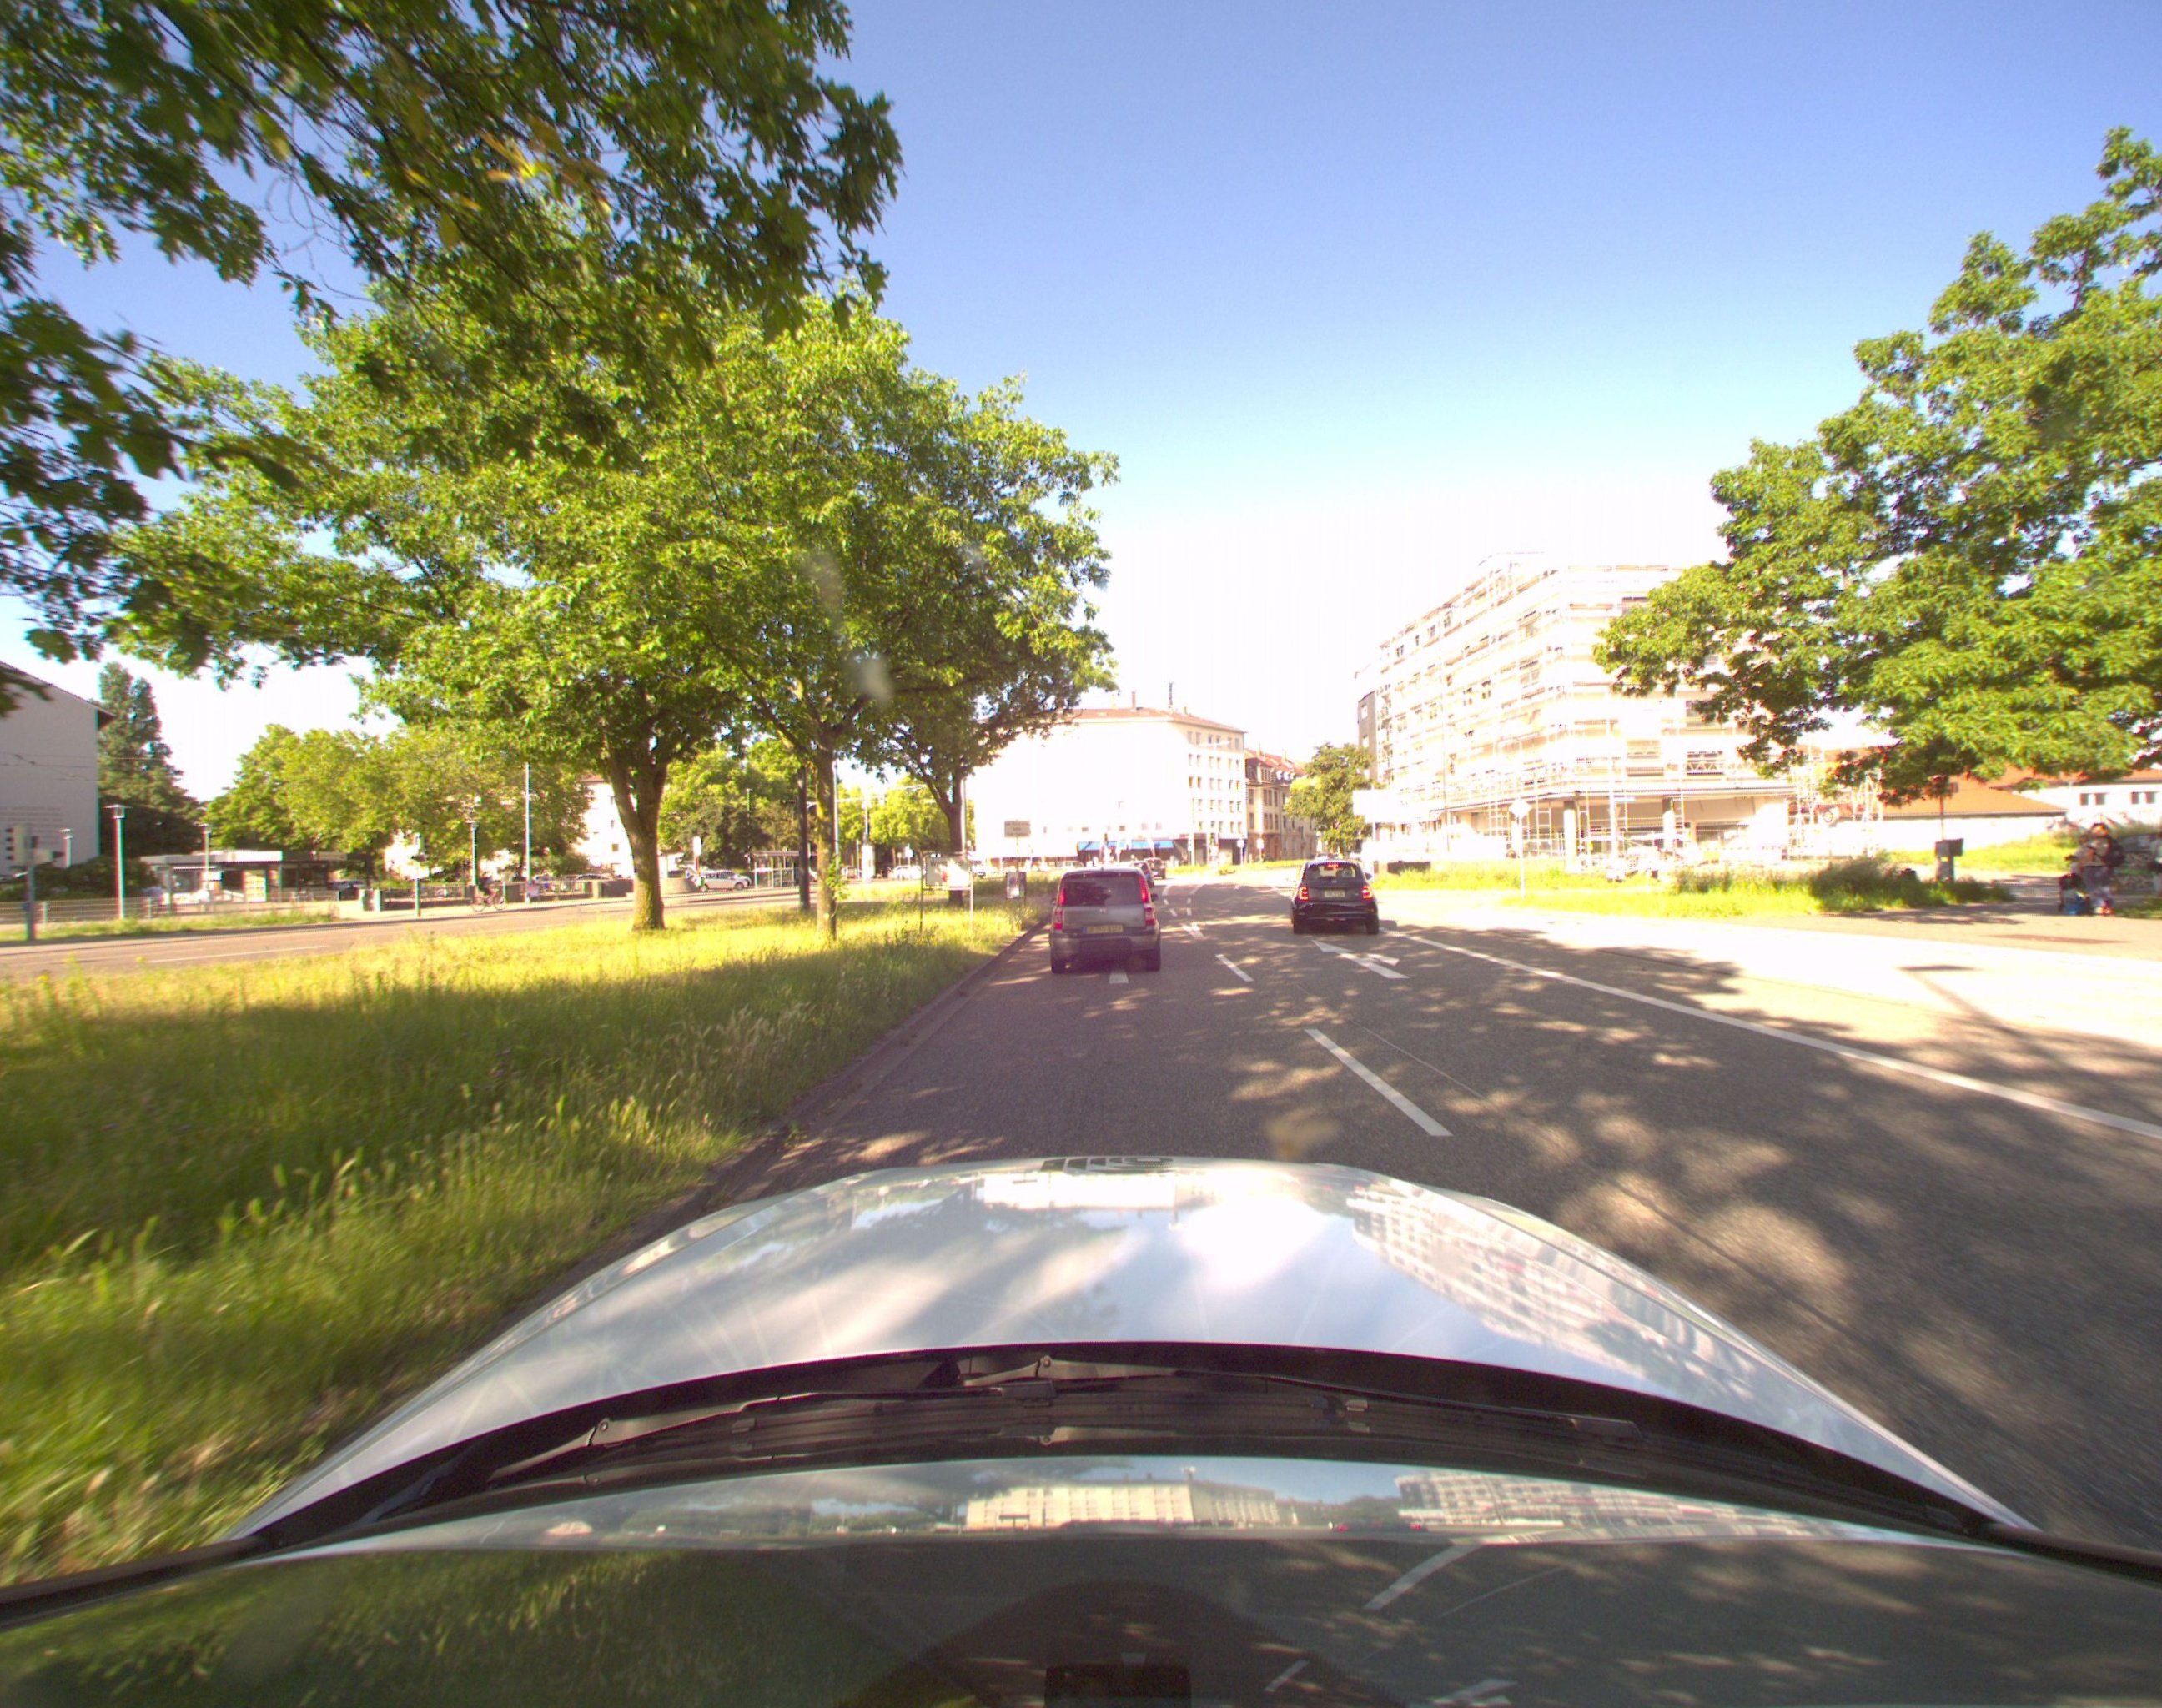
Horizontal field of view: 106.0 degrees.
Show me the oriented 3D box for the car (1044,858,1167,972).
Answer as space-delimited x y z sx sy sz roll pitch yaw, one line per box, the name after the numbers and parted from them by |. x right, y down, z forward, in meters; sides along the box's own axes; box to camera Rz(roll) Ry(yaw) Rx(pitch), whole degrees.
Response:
0.419 0.853 12.844 1.653 1.510 3.254 -2 0 3 | car

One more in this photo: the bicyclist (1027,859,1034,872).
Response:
-5.284 1.238 84.959 0.596 1.357 0.529 -2 0 -12 | bicyclist

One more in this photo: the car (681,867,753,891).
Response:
-27.373 1.874 61.348 1.849 1.544 4.576 2 2 44 | car

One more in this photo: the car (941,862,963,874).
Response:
-15.540 1.638 98.283 1.986 1.310 4.001 -2 0 1 | car

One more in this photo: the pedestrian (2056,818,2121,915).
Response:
18.140 0.220 14.663 0.600 1.700 0.410 -2 -1 1 | pedestrian

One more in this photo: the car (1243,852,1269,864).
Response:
21.978 0.505 102.330 1.773 1.396 3.749 -2 0 36 | car

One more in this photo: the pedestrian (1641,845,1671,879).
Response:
25.924 0.378 36.737 0.649 1.497 0.907 -1 -1 -7 | pedestrian

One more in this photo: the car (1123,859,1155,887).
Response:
3.205 1.009 44.846 1.638 1.438 3.400 -2 0 5 | car

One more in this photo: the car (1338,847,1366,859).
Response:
36.699 -0.114 110.336 1.906 1.594 3.984 -2 0 -11 | car

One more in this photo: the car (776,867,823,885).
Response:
-27.849 2.193 80.694 3.978 1.572 1.998 -2 -1 -3 | car

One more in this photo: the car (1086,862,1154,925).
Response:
0.983 0.977 21.509 1.615 1.429 3.689 -2 0 1 | car

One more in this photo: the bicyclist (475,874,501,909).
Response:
-27.155 1.718 37.283 0.608 1.530 0.678 -1 1 13 | bicyclist

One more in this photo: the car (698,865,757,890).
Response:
-27.976 1.857 64.573 1.741 1.717 4.025 1 2 28 | car

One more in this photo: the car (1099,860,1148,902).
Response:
1.705 1.002 31.987 1.752 1.486 4.297 -2 0 3 | car

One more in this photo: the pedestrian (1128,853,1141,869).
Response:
4.975 0.648 75.365 0.780 1.428 0.928 1 -2 -37 | pedestrian

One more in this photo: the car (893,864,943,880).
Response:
-15.892 1.765 79.497 4.367 1.448 1.671 -2 0 5 | car

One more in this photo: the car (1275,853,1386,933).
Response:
5.272 0.765 17.639 1.665 1.503 3.569 -2 0 7 | car

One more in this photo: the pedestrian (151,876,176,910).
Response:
-50.565 2.148 44.880 0.553 1.829 0.731 -2 -1 22 | pedestrian

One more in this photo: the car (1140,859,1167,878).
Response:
5.008 1.024 56.526 1.683 1.253 3.629 -1 -1 3 | car

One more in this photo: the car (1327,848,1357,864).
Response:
26.947 0.181 83.968 1.802 1.508 4.026 -2 0 35 | car

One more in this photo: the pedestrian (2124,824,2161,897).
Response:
24.290 0.147 18.400 0.701 1.620 0.566 0 -1 -4 | pedestrian

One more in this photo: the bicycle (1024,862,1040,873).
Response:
-5.123 1.359 84.964 1.581 1.090 0.529 -2 0 -12 | bicycle

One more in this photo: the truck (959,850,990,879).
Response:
-9.586 0.934 73.109 1.795 2.427 4.079 -1 0 -22 | truck

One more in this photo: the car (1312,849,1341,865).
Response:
24.113 0.265 79.882 1.757 1.442 3.642 -1 0 34 | car

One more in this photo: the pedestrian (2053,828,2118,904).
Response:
20.400 0.243 16.550 0.525 1.518 0.614 -1 -1 4 | pedestrian

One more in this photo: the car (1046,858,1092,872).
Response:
-1.186 1.075 78.166 3.948 1.243 2.013 -1 0 37 | car

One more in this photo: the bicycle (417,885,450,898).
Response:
-43.865 2.541 55.150 1.695 0.839 0.541 -1 0 -42 | bicycle

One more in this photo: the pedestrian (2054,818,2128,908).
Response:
18.730 0.163 15.113 0.619 1.634 0.552 -2 -1 2 | pedestrian

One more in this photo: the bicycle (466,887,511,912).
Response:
-27.135 2.062 37.304 0.608 1.001 1.664 -1 1 12 | bicycle

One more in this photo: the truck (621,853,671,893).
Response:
-34.198 1.478 63.965 4.768 2.994 2.012 -1 0 44 | truck
